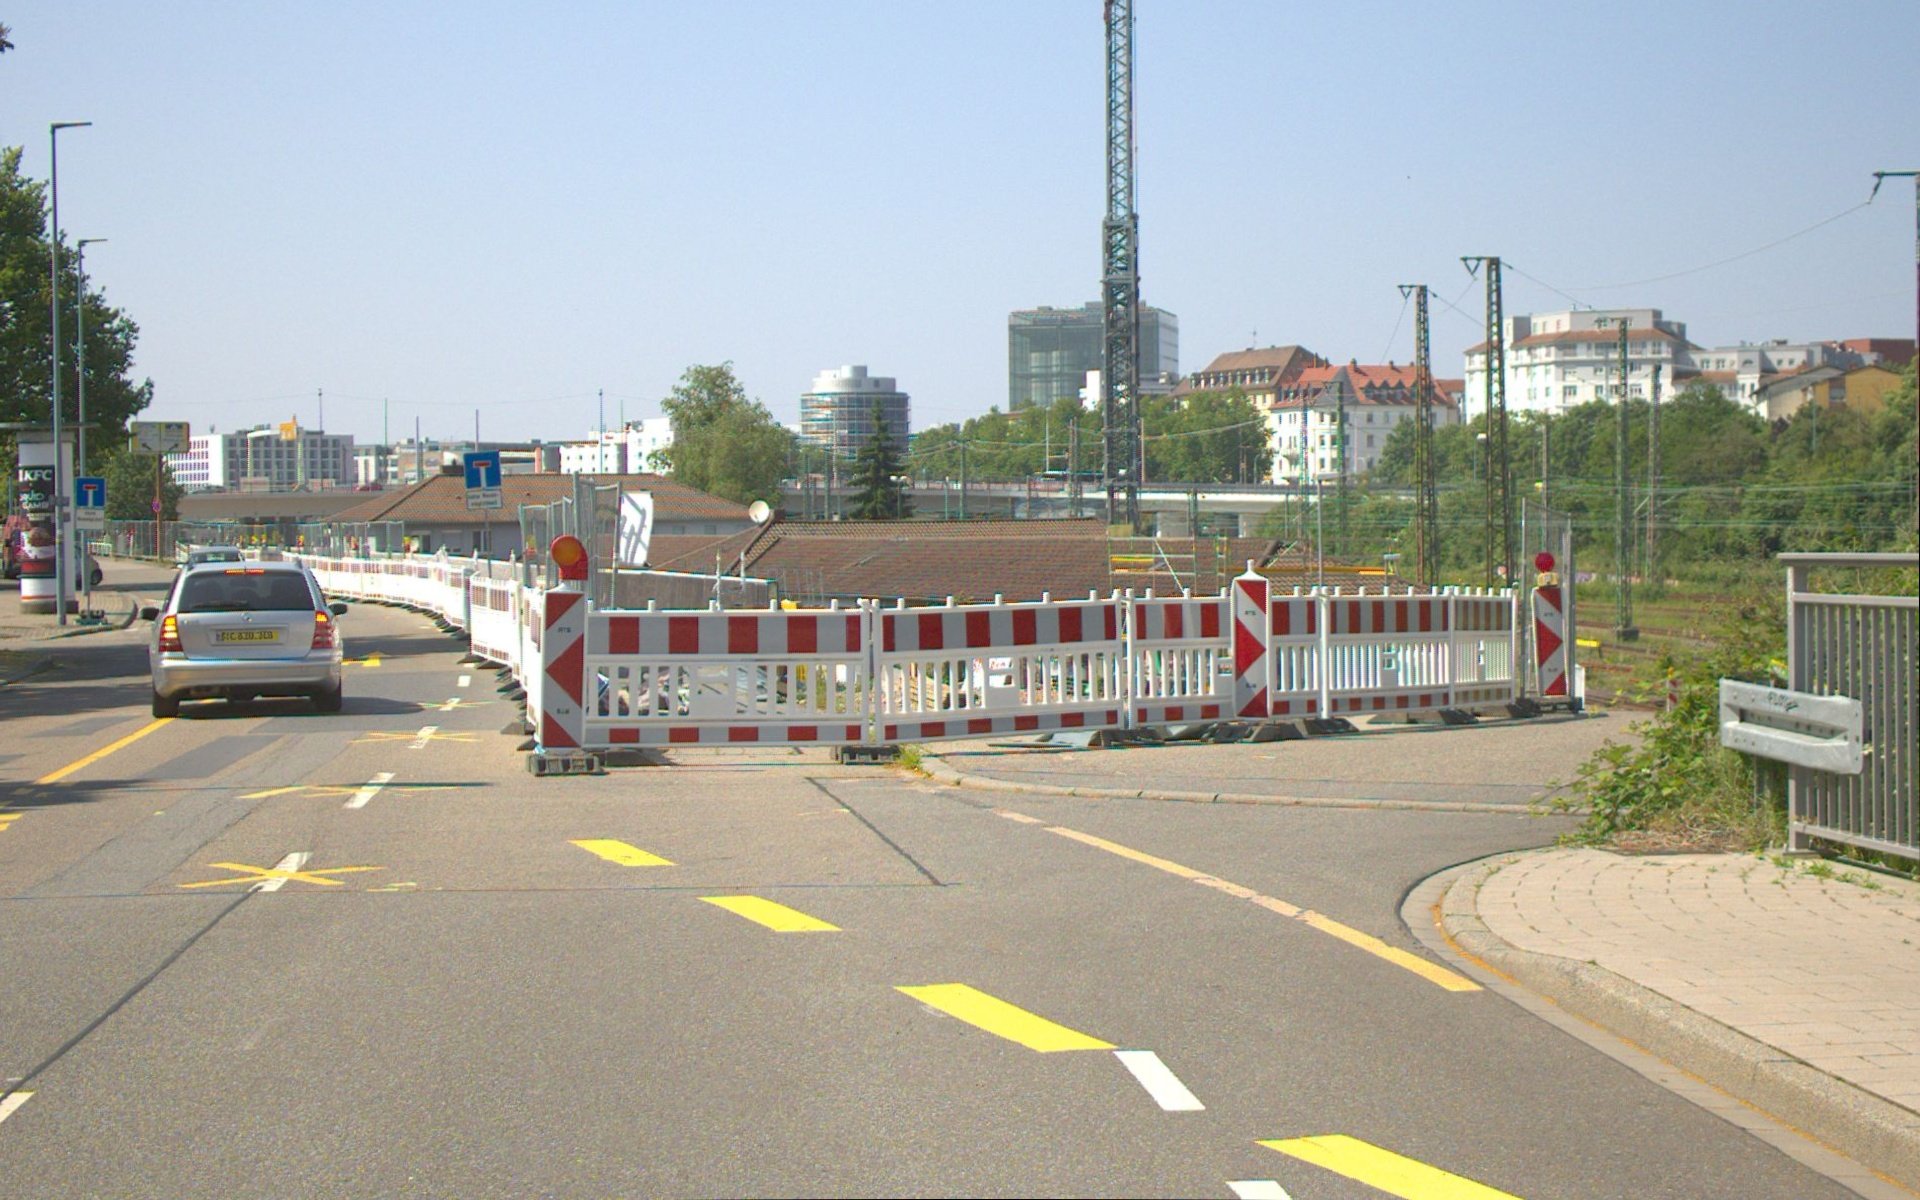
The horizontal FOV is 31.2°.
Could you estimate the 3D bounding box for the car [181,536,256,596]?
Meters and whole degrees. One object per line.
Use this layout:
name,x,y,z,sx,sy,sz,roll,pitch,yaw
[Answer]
car,-19.639,-0.913,90.954,1.677,1.488,4.607,-2,1,-15

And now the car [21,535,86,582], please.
car,-31.407,-1.450,119.209,1.869,1.493,4.033,-2,2,-11

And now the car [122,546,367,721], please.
car,-6.614,0.256,32.179,1.708,1.399,4.388,-3,2,-5
